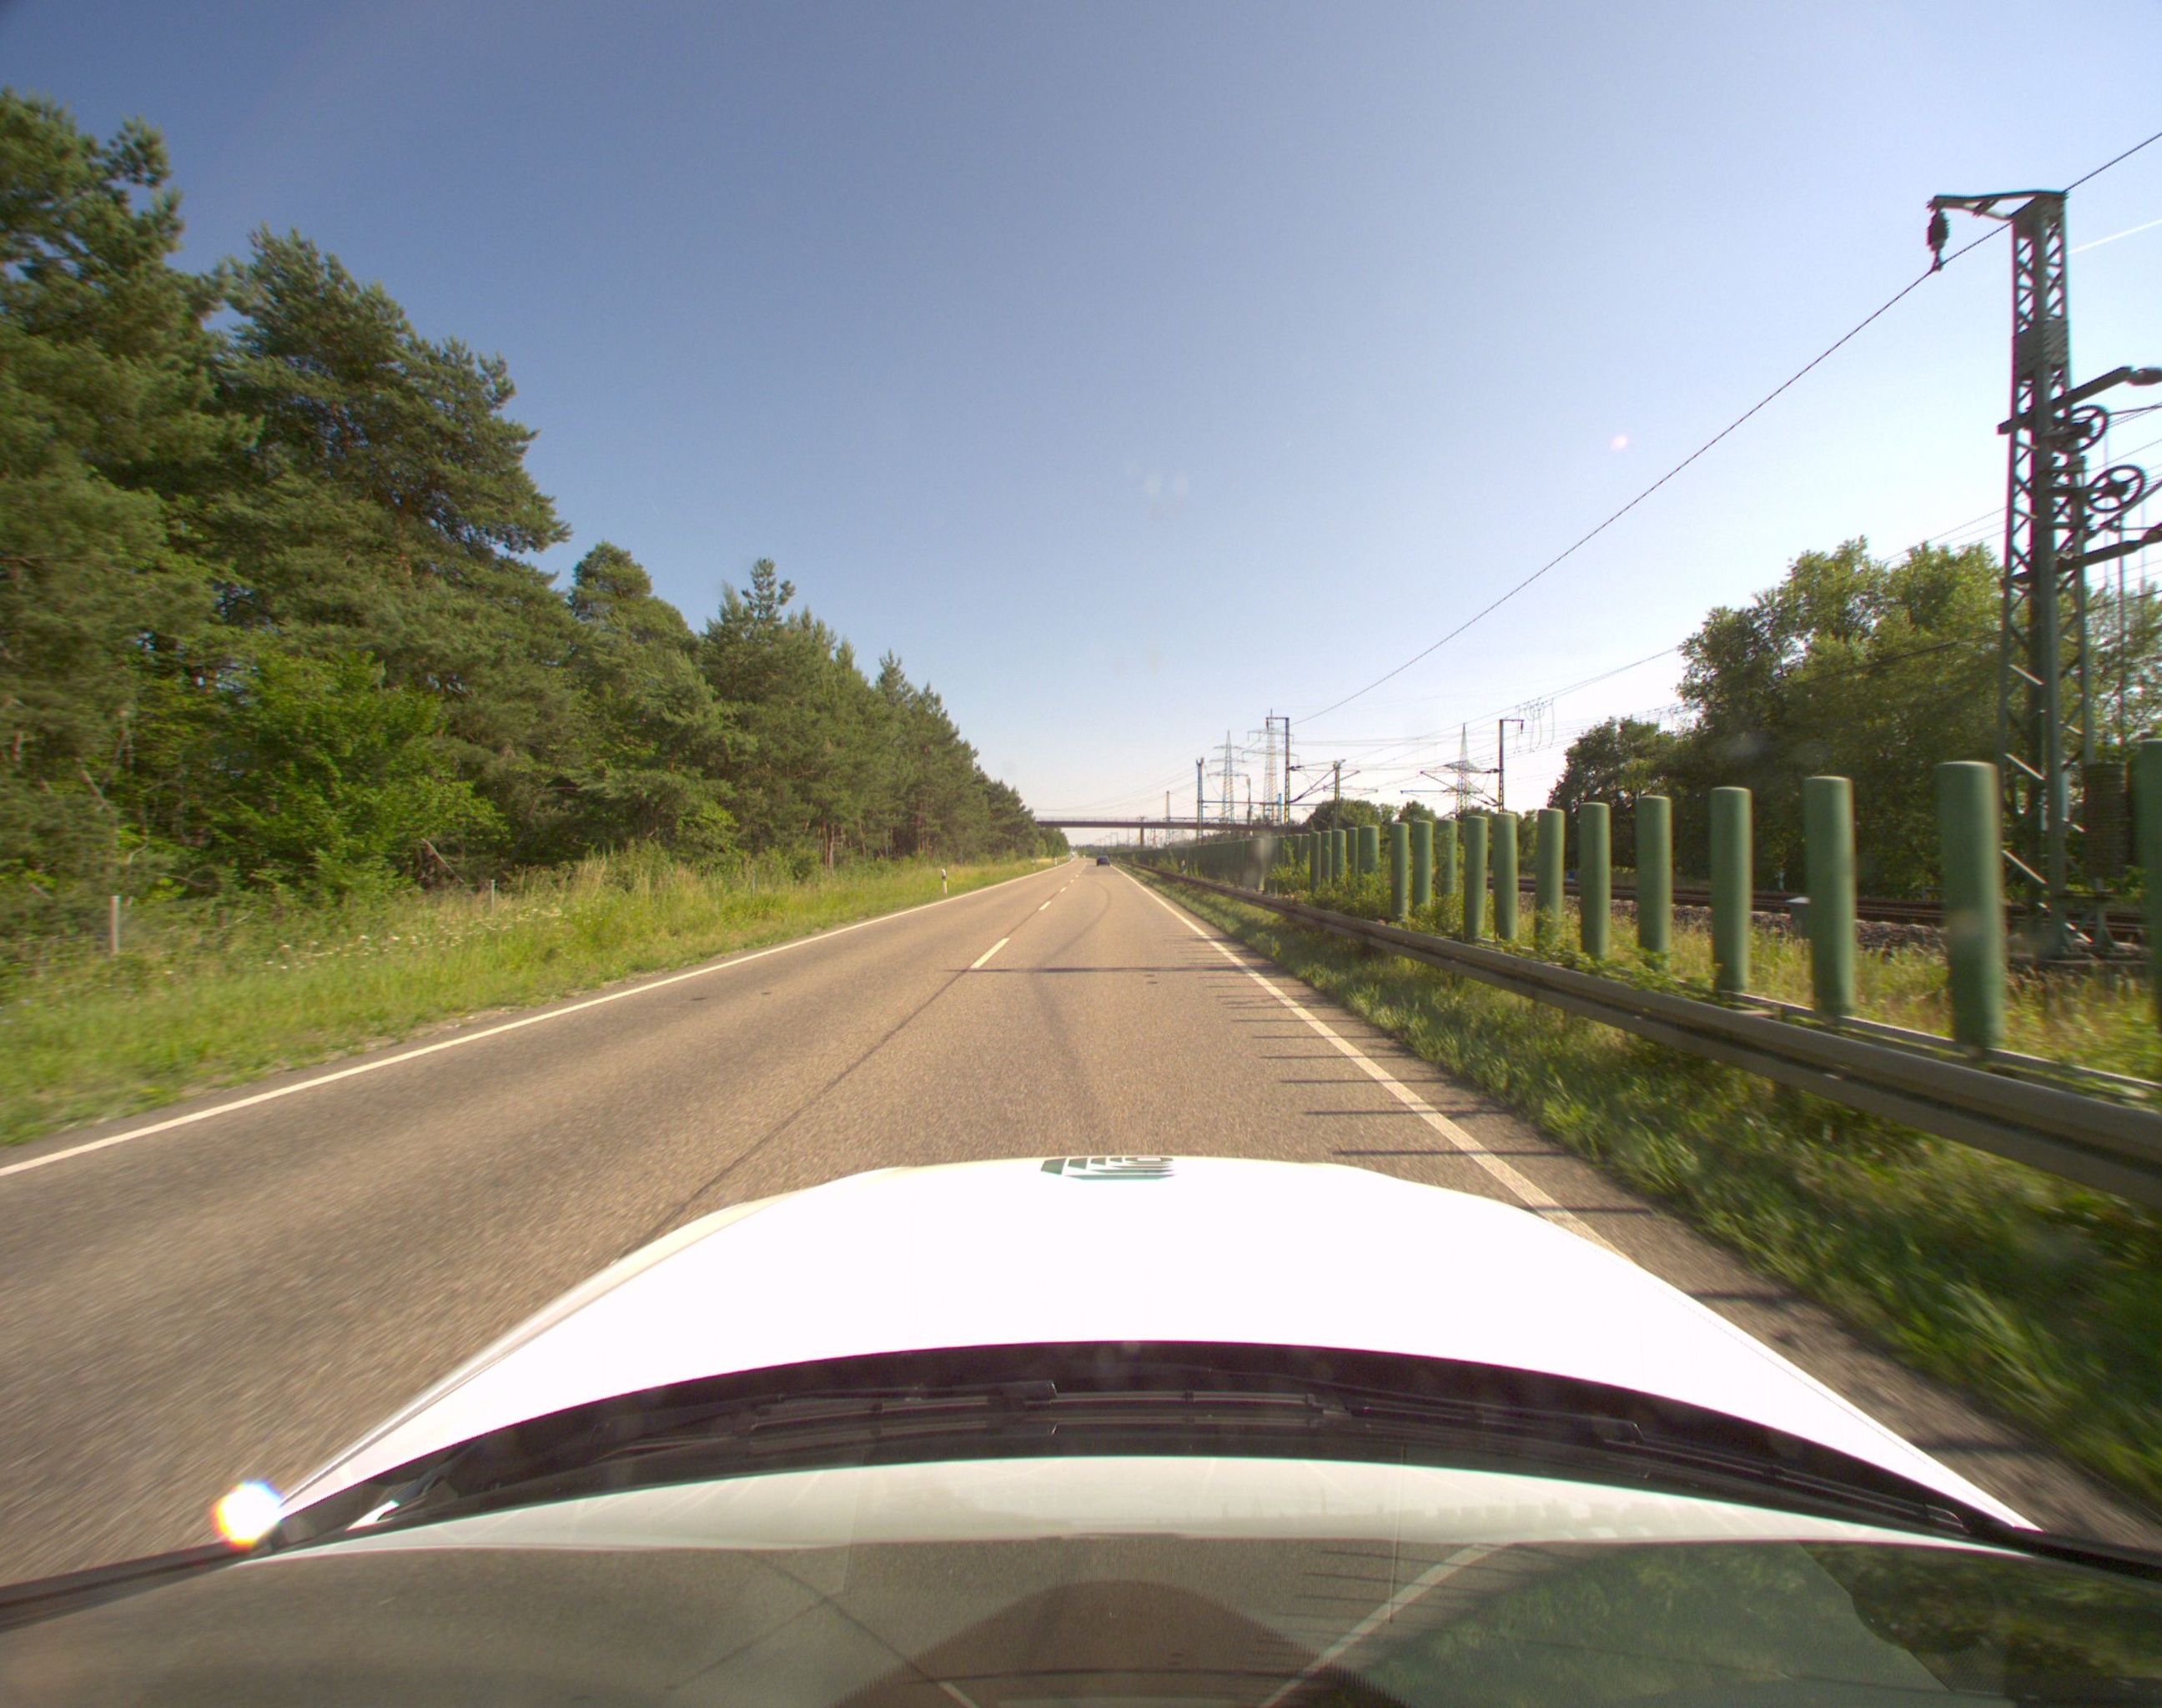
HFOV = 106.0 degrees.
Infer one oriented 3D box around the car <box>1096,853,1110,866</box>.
[{"bbox_3d":[3.084,0.727,113.693,1.853,1.642,3.999,-2,0,-1],"label":"car"}]
